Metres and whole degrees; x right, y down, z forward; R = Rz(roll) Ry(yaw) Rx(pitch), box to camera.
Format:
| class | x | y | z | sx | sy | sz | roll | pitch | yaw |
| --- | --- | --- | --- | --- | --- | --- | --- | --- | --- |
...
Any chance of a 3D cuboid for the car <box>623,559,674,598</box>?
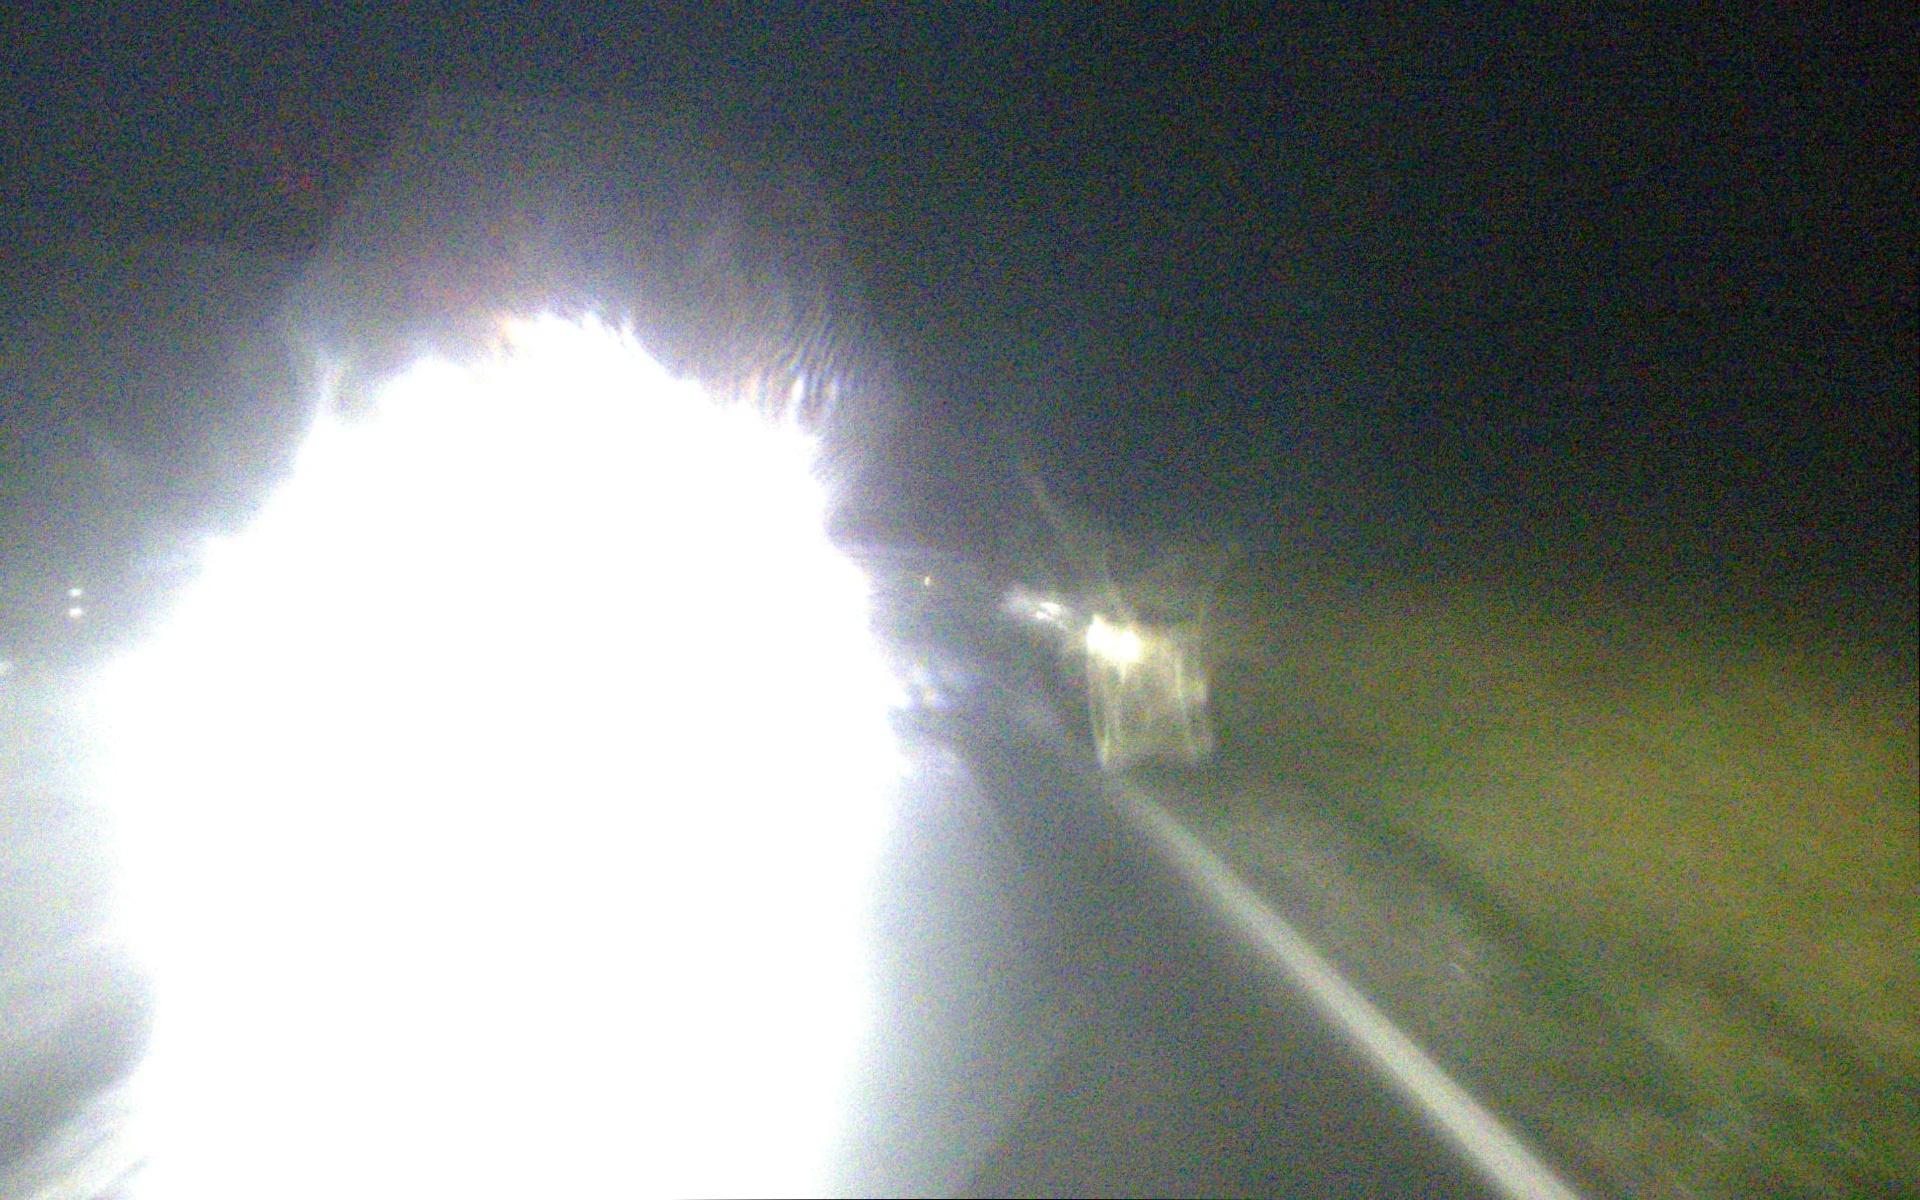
| class | x | y | z | sx | sy | sz | roll | pitch | yaw |
| --- | --- | --- | --- | --- | --- | --- | --- | --- | --- |
| car | -12.968 | -0.914 | 143.259 | 1.993 | 1.495 | 4.001 | 0 | 2 | -3 |

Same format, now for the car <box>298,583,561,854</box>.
| class | x | y | z | sx | sy | sz | roll | pitch | yaw |
| --- | --- | --- | --- | --- | --- | --- | --- | --- | --- |
| car | -4.368 | 0.919 | 28.815 | 1.993 | 2.006 | 4.001 | 0 | 2 | -6 |
